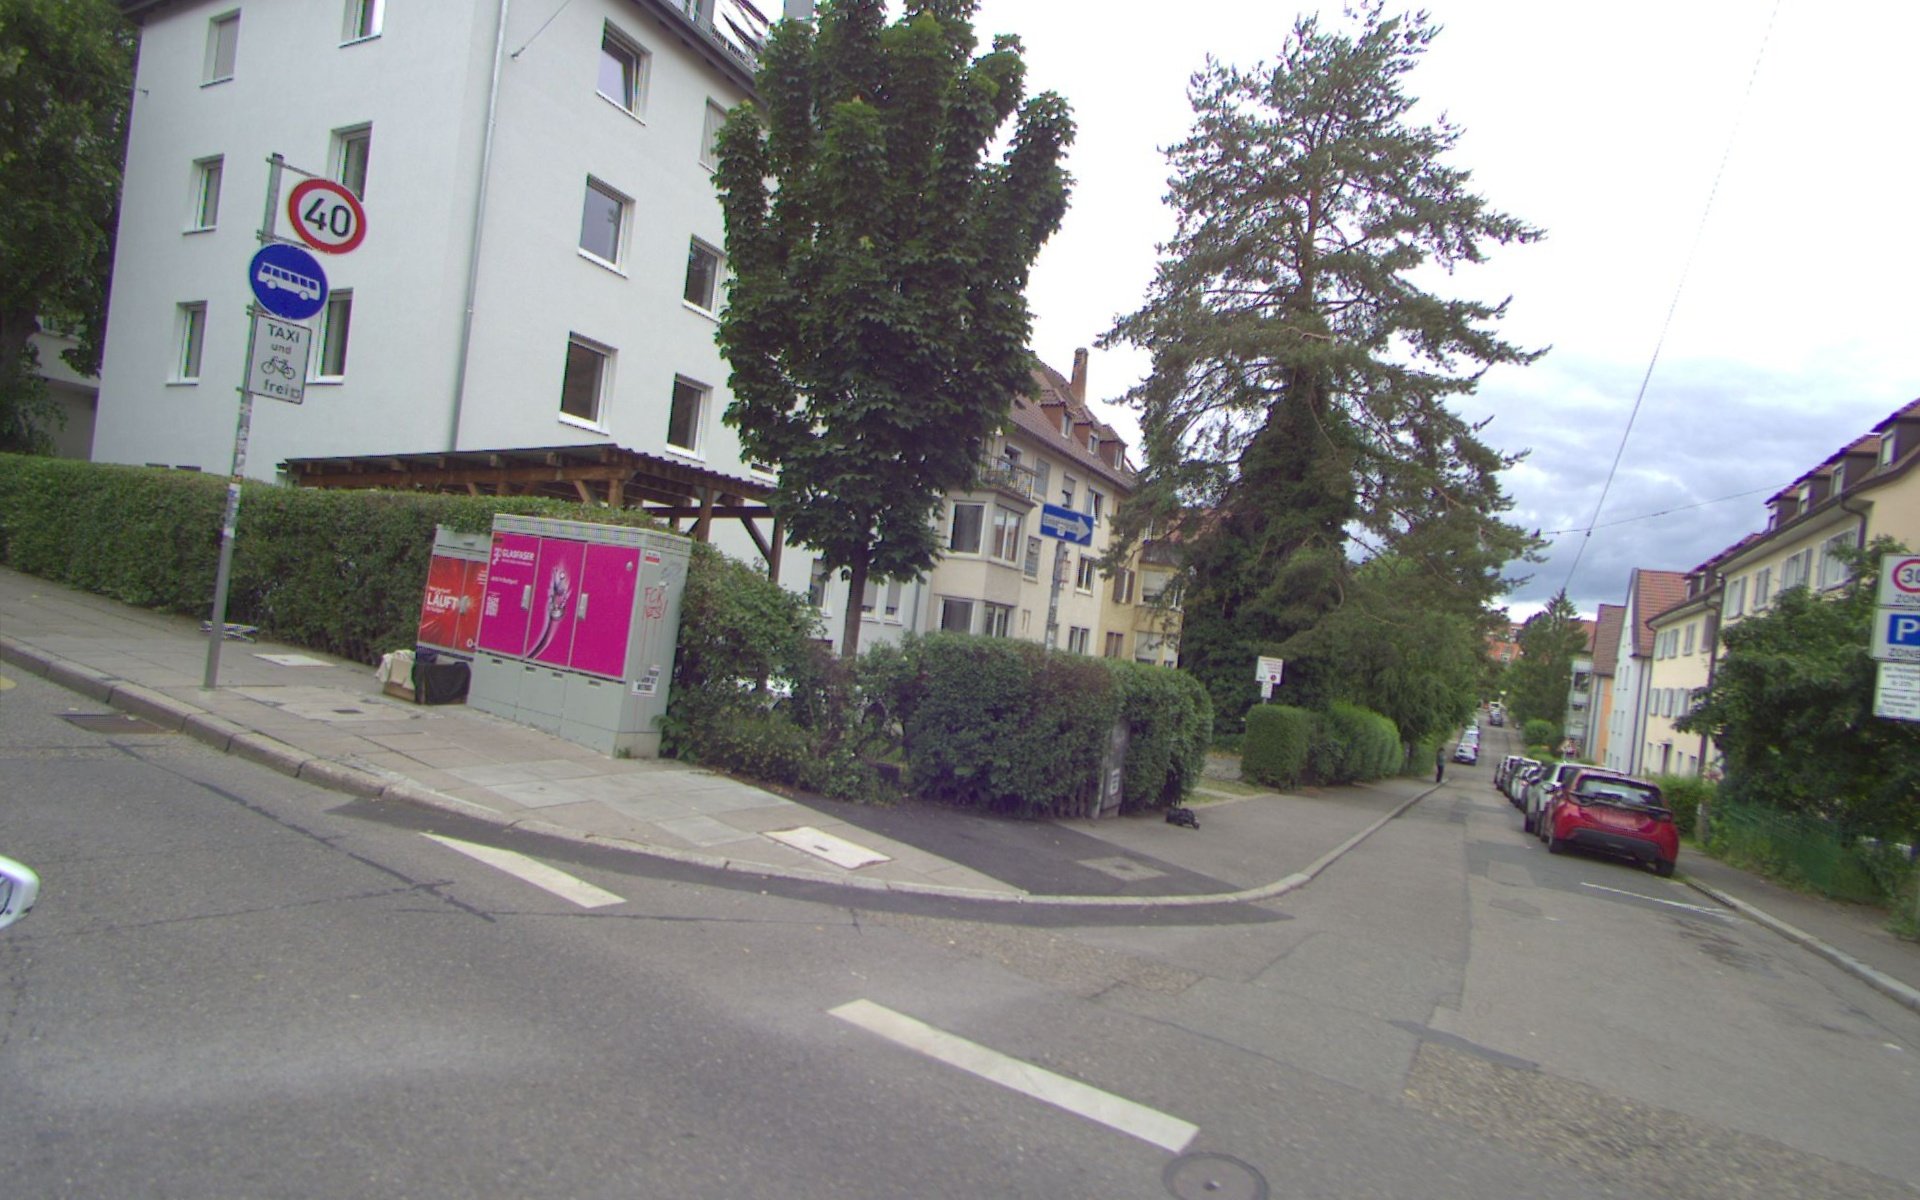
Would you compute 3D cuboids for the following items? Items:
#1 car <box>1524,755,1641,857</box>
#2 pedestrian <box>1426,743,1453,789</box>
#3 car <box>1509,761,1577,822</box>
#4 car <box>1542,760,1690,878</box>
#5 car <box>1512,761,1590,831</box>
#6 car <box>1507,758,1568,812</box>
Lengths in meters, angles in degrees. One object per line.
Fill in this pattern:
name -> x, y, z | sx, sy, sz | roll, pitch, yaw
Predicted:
car -> 13.175, 4.351, 21.475 | 1.749, 1.626, 3.759 | 8, -5, 30
pedestrian -> 23.070, 7.963, 48.401 | 0.867, 2.036, 0.722 | 8, -1, 34
car -> 19.787, 6.460, 34.207 | 1.749, 1.525, 3.223 | 8, -2, 30
car -> 11.278, 3.687, 17.524 | 1.749, 1.463, 3.755 | 7, -4, 30
car -> 17.786, 5.834, 30.366 | 1.749, 1.525, 3.753 | 8, -2, 30
car -> 21.723, 6.935, 37.922 | 1.749, 1.525, 3.223 | 8, -2, 30
